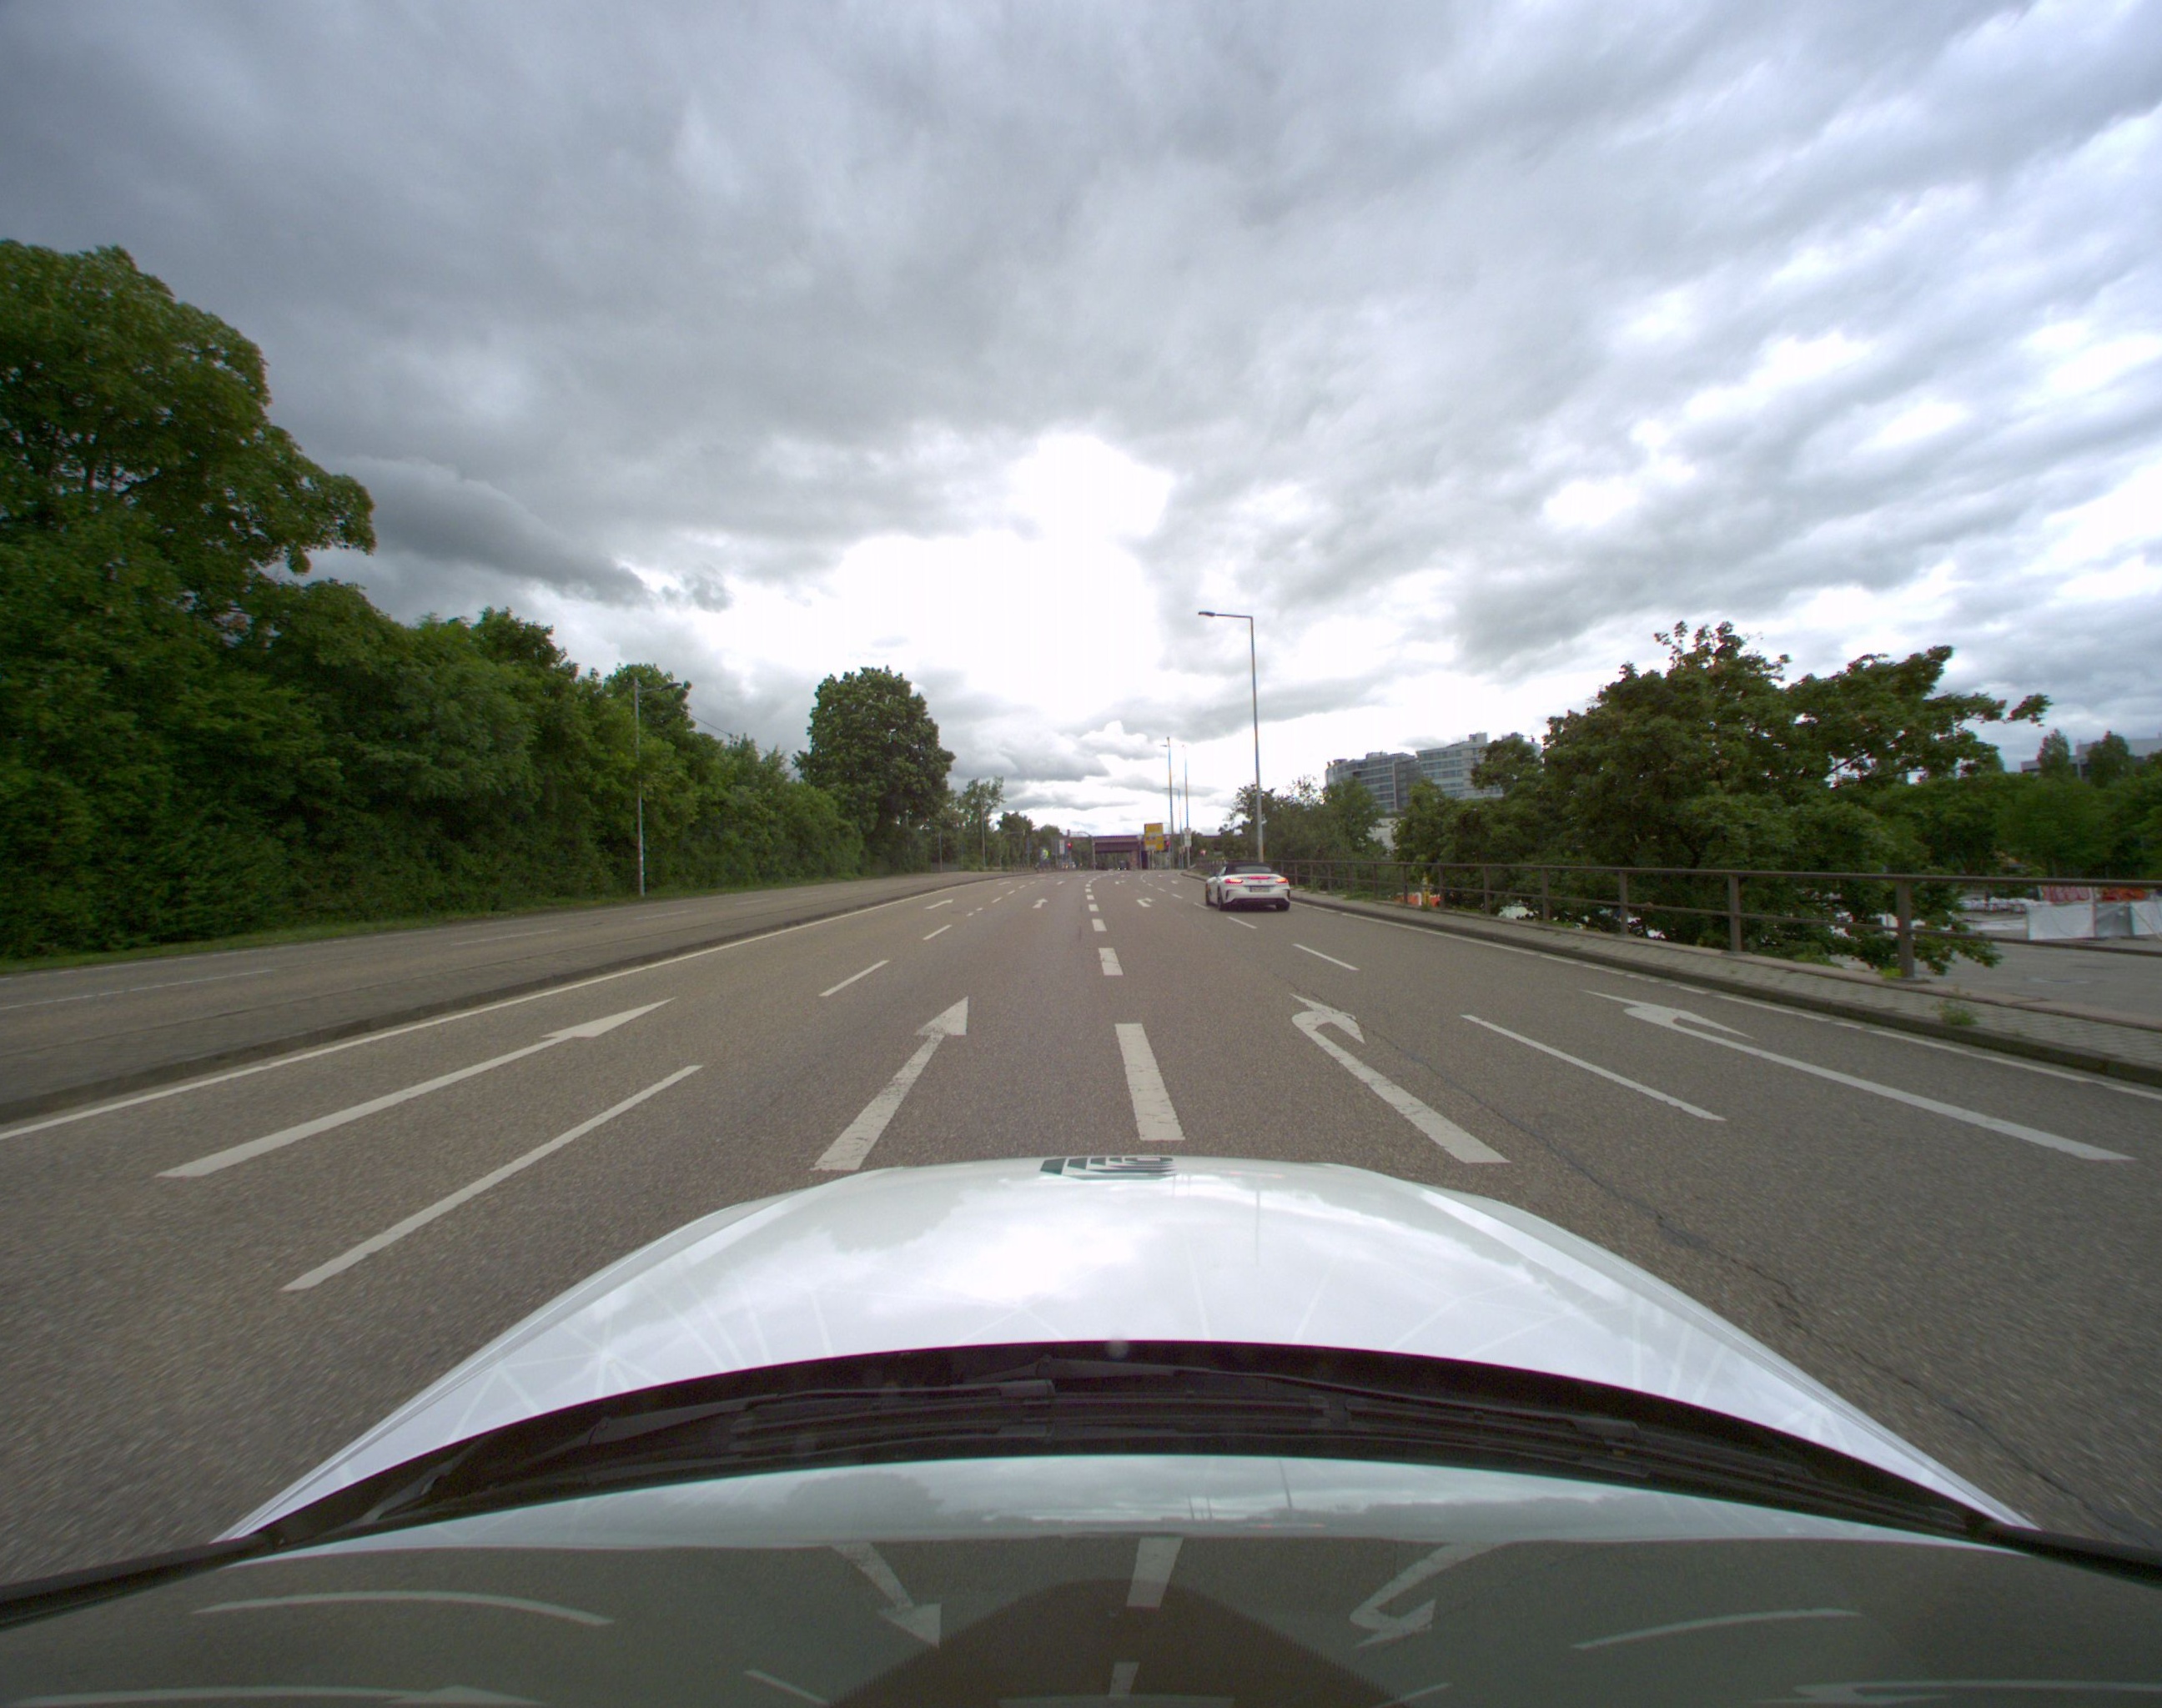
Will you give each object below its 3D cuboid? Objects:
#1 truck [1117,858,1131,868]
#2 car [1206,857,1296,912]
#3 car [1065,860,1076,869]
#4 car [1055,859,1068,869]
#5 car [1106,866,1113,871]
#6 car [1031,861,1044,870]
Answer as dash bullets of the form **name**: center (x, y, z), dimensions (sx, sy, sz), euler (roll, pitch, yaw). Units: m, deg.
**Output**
- **truck**: center (13.474, 2.898, 255.467), dimensions (2.905, 3.146, 10.141), euler (0, -1, 11)
- **car**: center (4.651, 0.777, 22.791), dimensions (1.867, 1.309, 3.876), euler (1, 1, 2)
- **car**: center (-1.840, 1.840, 142.921), dimensions (1.764, 1.633, 3.827), euler (0, -1, 3)
- **car**: center (-3.258, 1.595, 135.303), dimensions (1.764, 1.645, 3.827), euler (0, -1, 3)
- **car**: center (8.775, 4.370, 250.689), dimensions (1.731, 1.537, 3.679), euler (-1, 0, 7)
- **car**: center (-7.154, 1.912, 134.339), dimensions (1.753, 1.484, 3.487), euler (0, -1, 3)
